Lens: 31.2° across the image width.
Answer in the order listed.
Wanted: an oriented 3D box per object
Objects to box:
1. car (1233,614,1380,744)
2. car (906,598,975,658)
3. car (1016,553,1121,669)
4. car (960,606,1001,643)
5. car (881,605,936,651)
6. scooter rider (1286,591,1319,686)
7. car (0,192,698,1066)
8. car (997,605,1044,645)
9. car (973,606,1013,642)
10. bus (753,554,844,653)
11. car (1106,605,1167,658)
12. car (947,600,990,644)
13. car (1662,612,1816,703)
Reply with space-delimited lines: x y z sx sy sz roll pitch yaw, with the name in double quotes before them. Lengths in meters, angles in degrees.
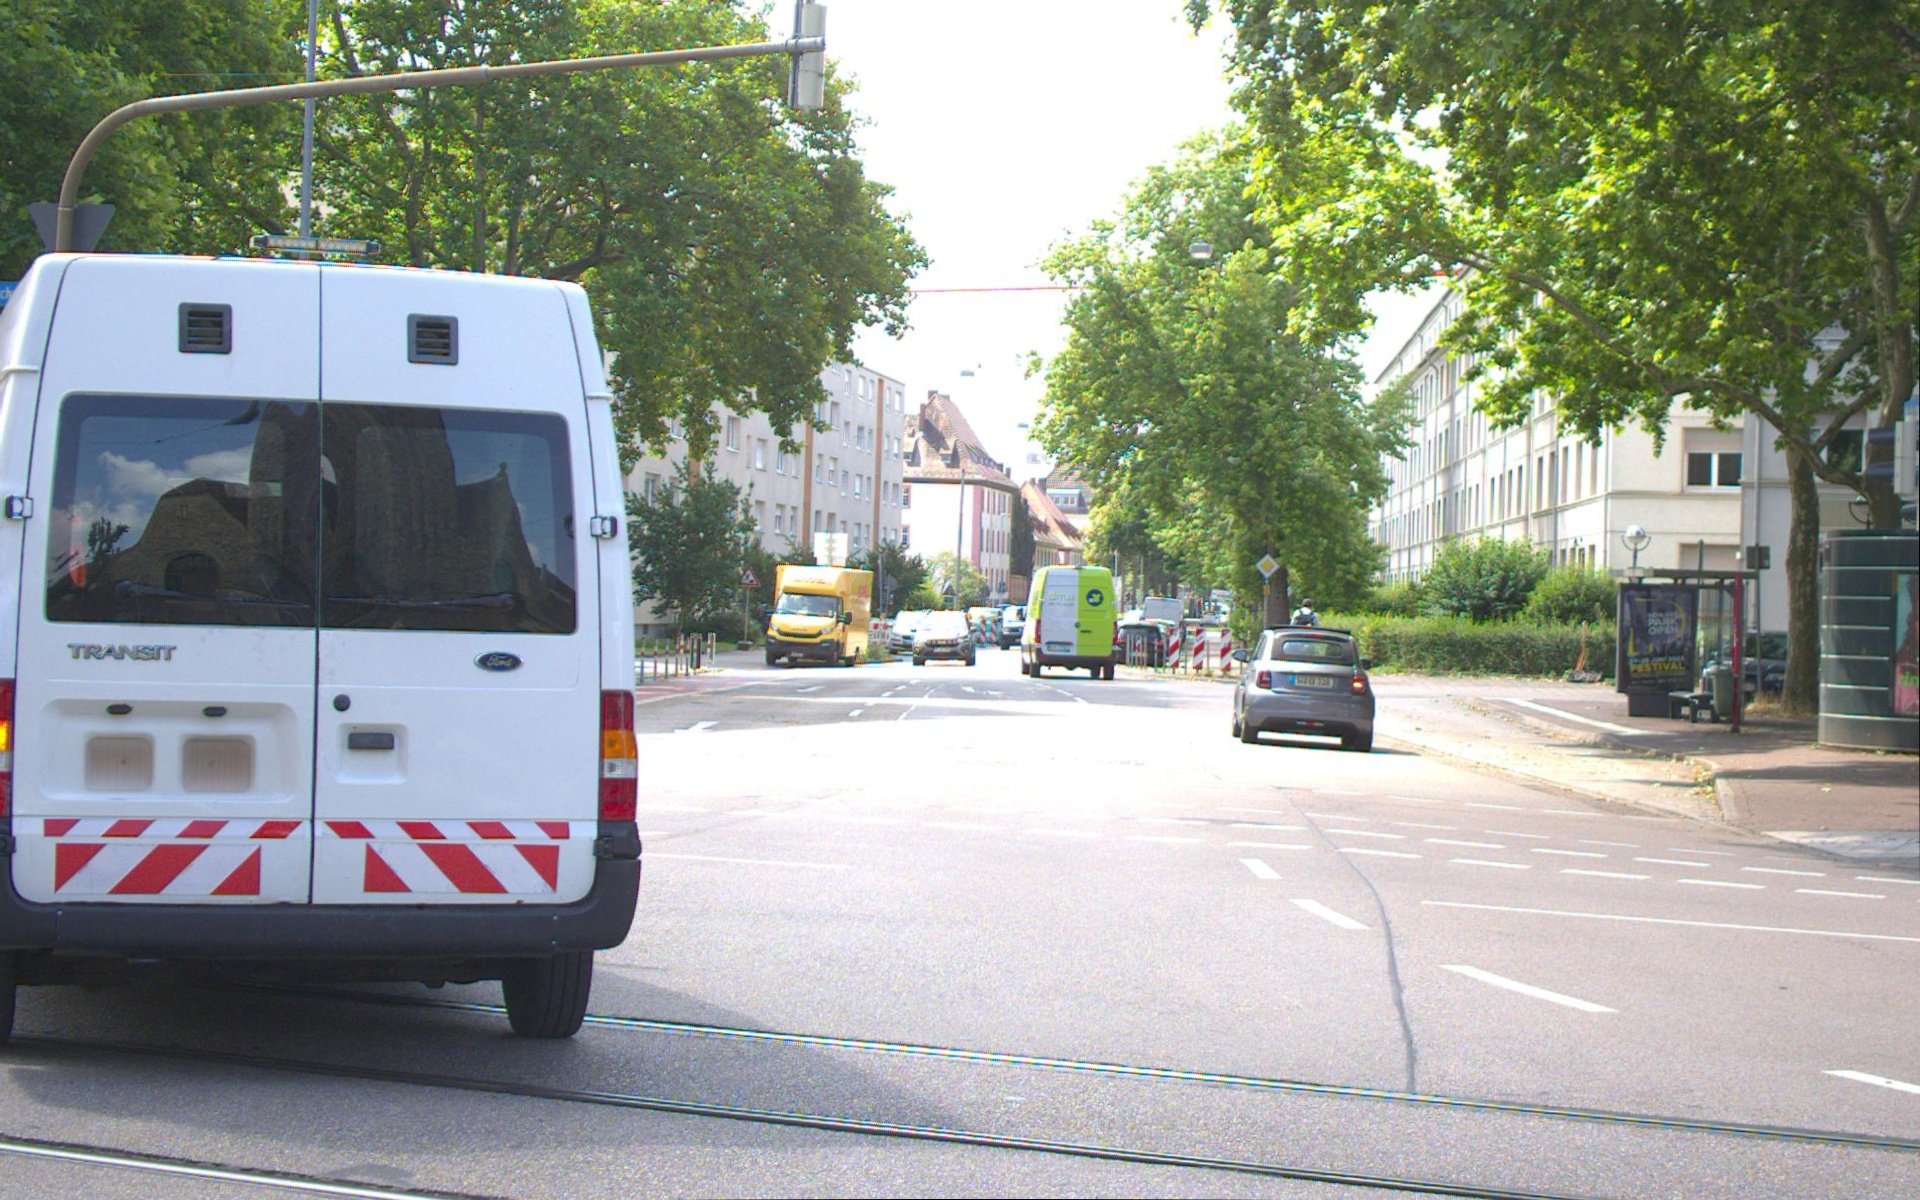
"car" 4.508 1.005 45.091 1.692 1.532 3.468 2 1 3
"car" -0.551 0.815 101.788 1.786 1.655 4.315 2 0 2
"car" 2.553 0.227 82.500 2.119 2.632 6.328 2 0 -1
"car" 0.984 1.150 163.996 1.660 1.655 3.749 2 0 4
"car" -1.946 1.051 130.263 1.729 1.655 3.749 2 0 4
"scooter rider" 6.644 0.745 66.667 0.526 1.806 0.649 2 0 0
"car" -2.437 0.070 11.646 2.046 2.325 4.716 2 0 -17
"car" 2.716 1.115 153.928 1.862 1.655 3.749 2 0 4
"car" 1.656 1.187 170.849 1.701 1.655 3.749 2 0 4
"bus" -4.632 0.102 99.578 2.394 2.700 6.370 2 0 -1
"car" 5.359 0.957 104.762 1.725 1.549 3.633 2 0 1
"car" 0.410 0.975 155.920 1.652 1.925 3.749 2 0 4
"car" 14.628 1.069 64.399 2.030 1.595 4.533 2 0 23
